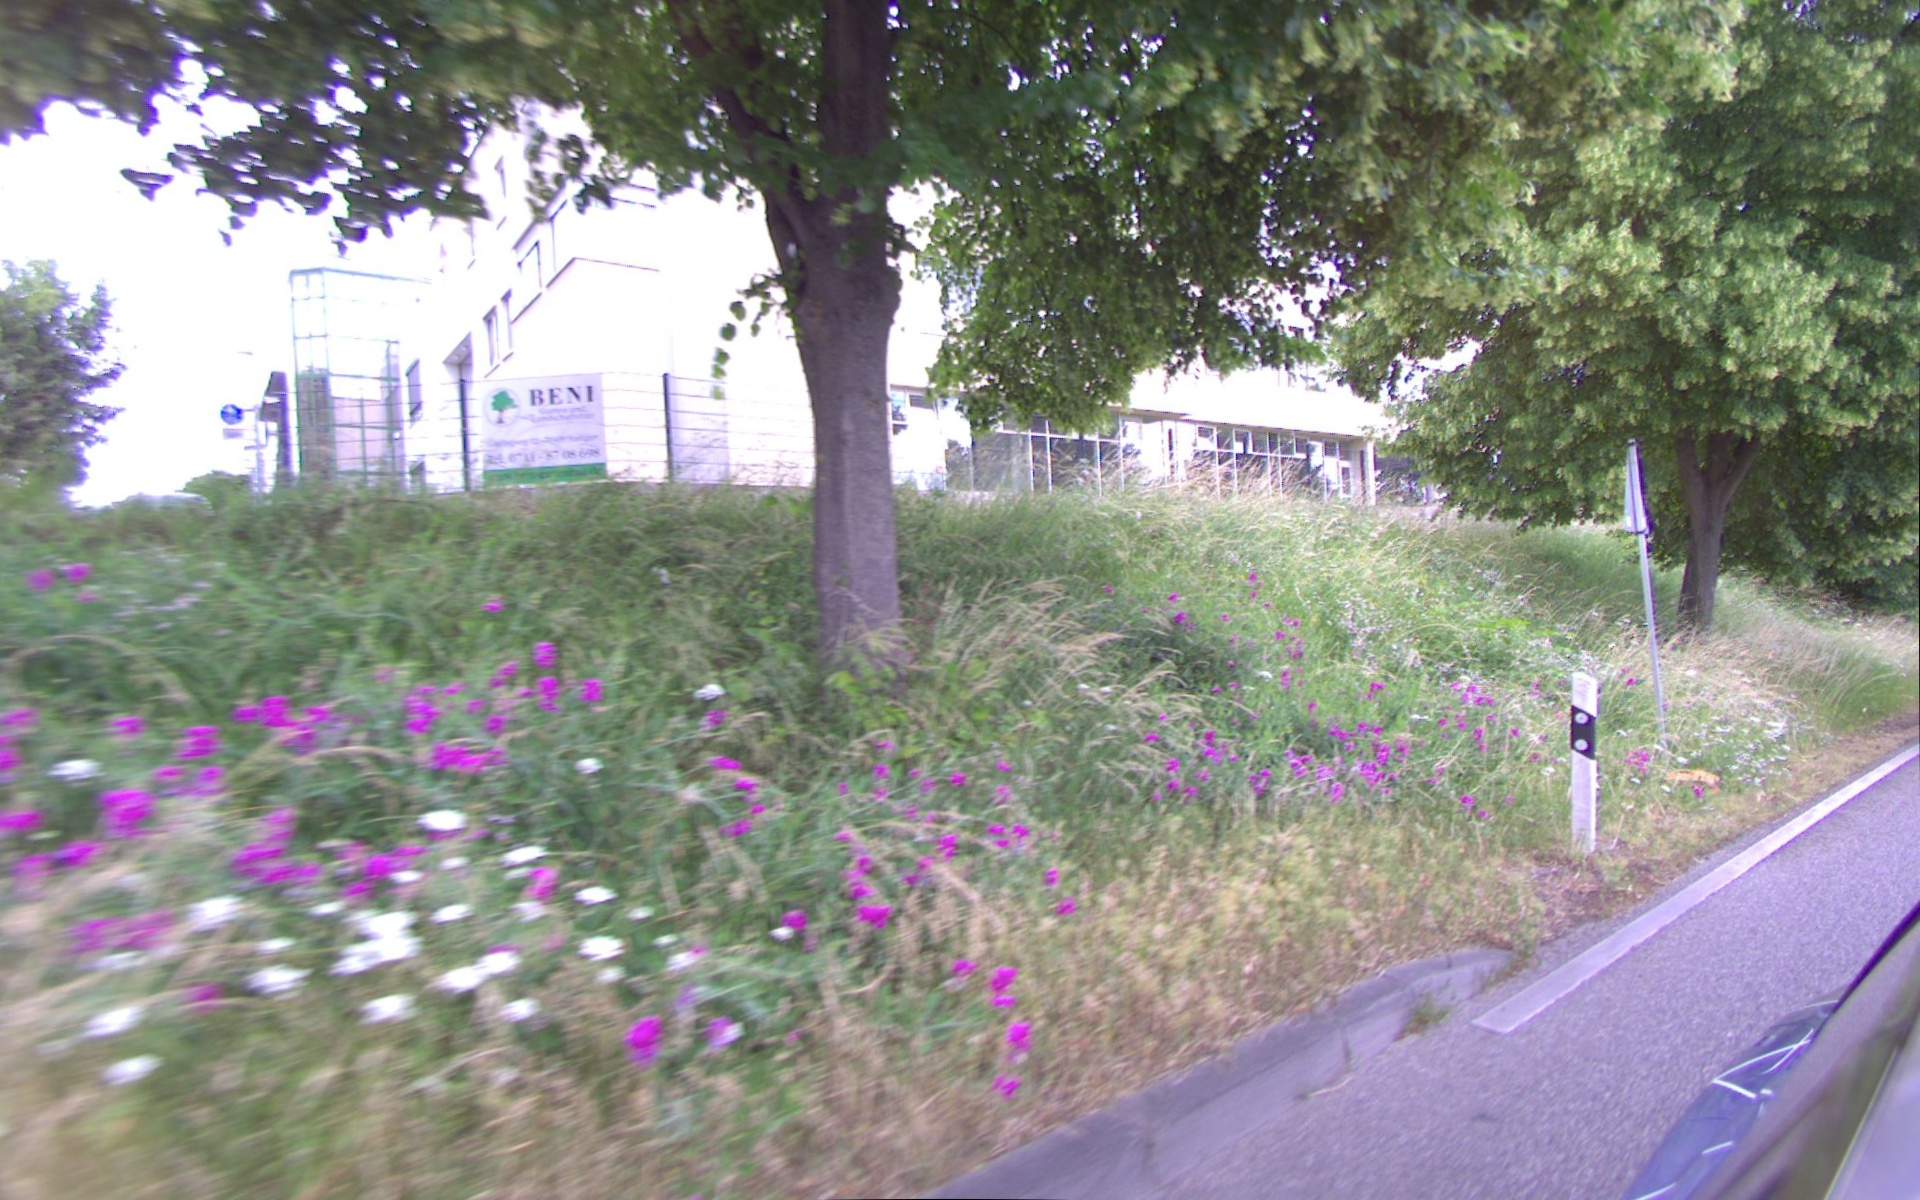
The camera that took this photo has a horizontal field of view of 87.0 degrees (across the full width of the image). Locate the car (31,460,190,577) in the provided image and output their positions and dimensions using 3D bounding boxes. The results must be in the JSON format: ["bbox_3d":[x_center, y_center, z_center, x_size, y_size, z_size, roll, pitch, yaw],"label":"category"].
[{"bbox_3d":[-13.157,-1.170,15.842,1.547,1.529,3.369,0,0,-34],"label":"car"}]
